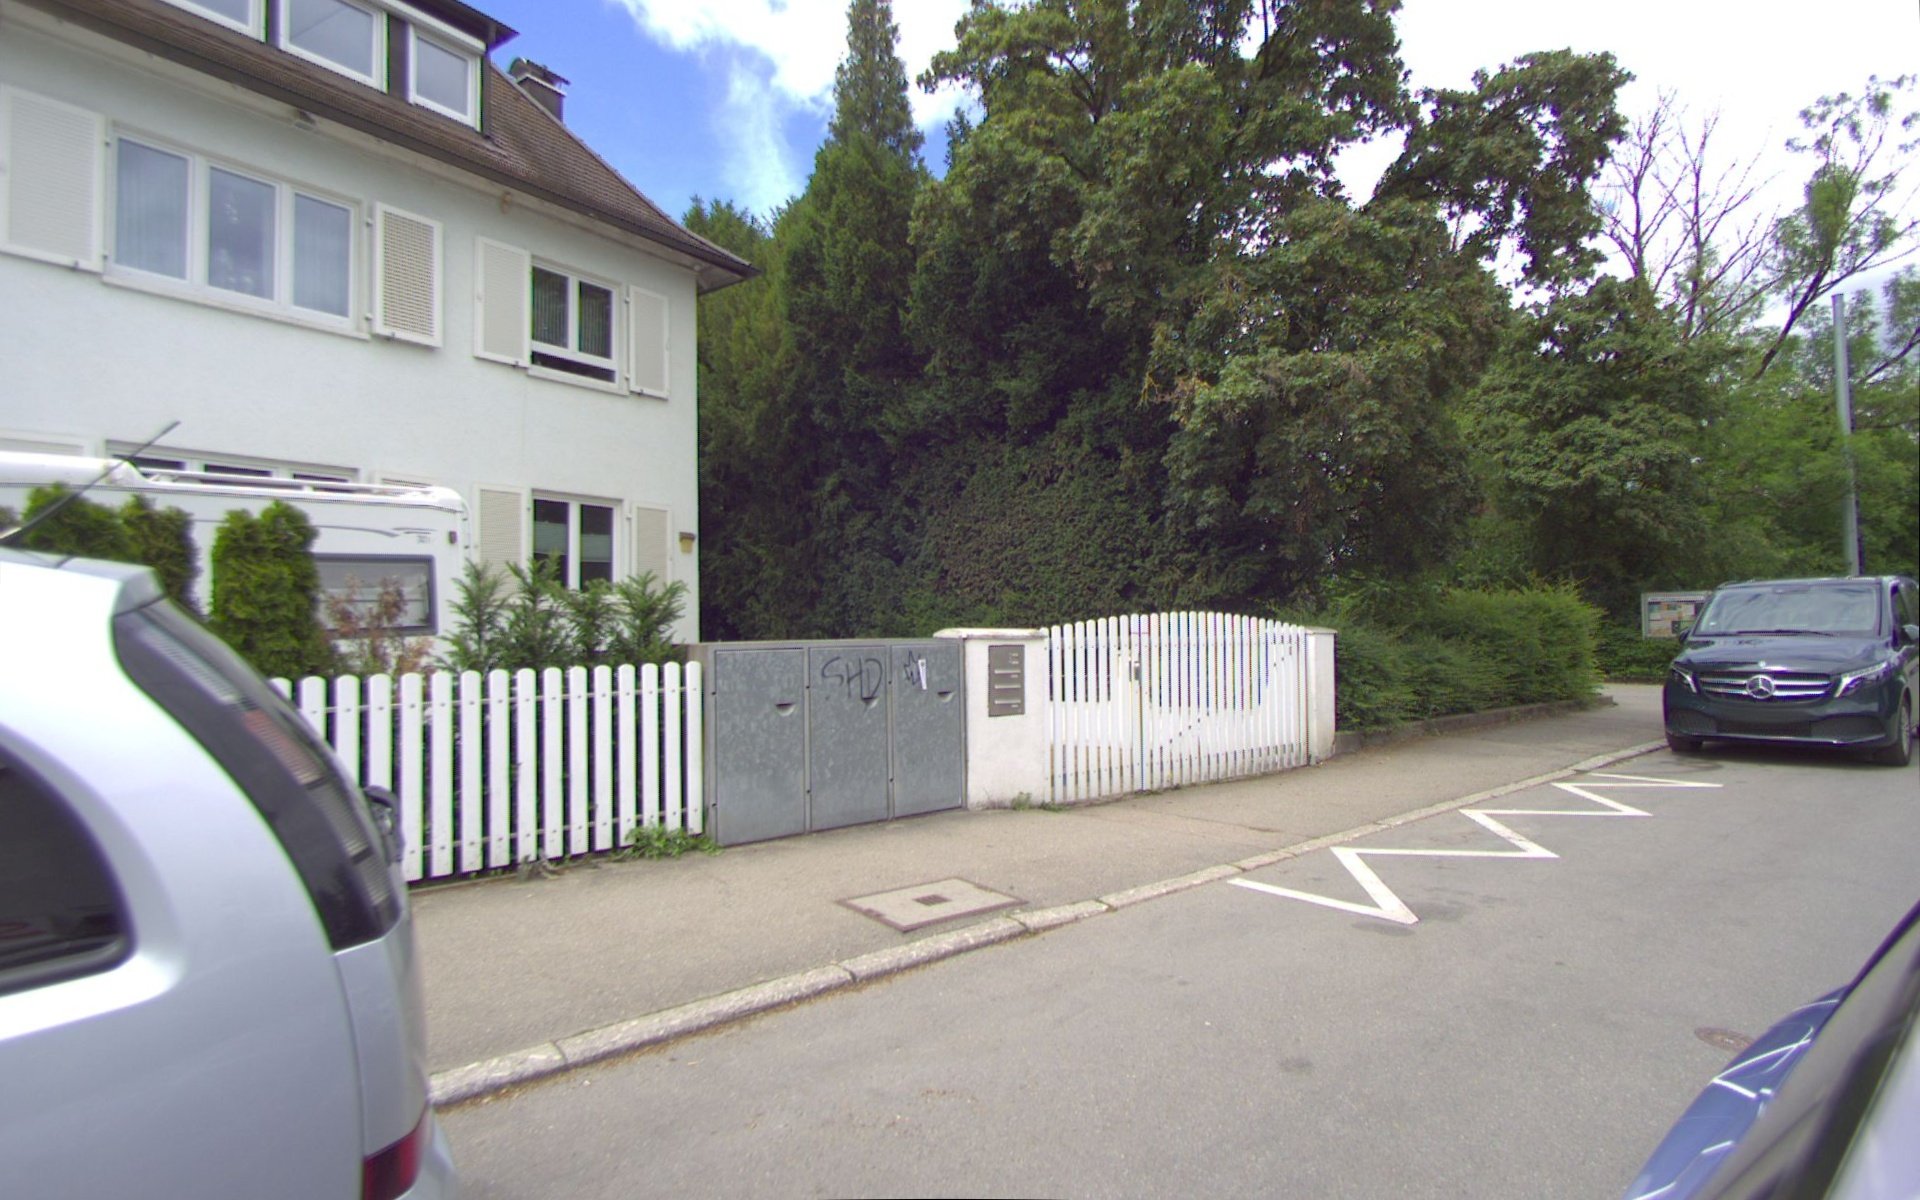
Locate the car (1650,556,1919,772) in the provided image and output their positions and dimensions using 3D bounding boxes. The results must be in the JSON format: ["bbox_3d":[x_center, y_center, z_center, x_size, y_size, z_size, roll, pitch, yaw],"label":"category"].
[{"bbox_3d":[9.592,0.576,11.169,5.066,1.872,1.912,0,-2,-40],"label":"car"}]

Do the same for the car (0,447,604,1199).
[{"bbox_3d":[-2.511,0.652,0.651,3.951,1.602,1.761,0,0,-43],"label":"car"}]

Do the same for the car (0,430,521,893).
[{"bbox_3d":[-6.218,0.423,7.211,2.492,2.717,5.113,-4,-3,38],"label":"car"}]
